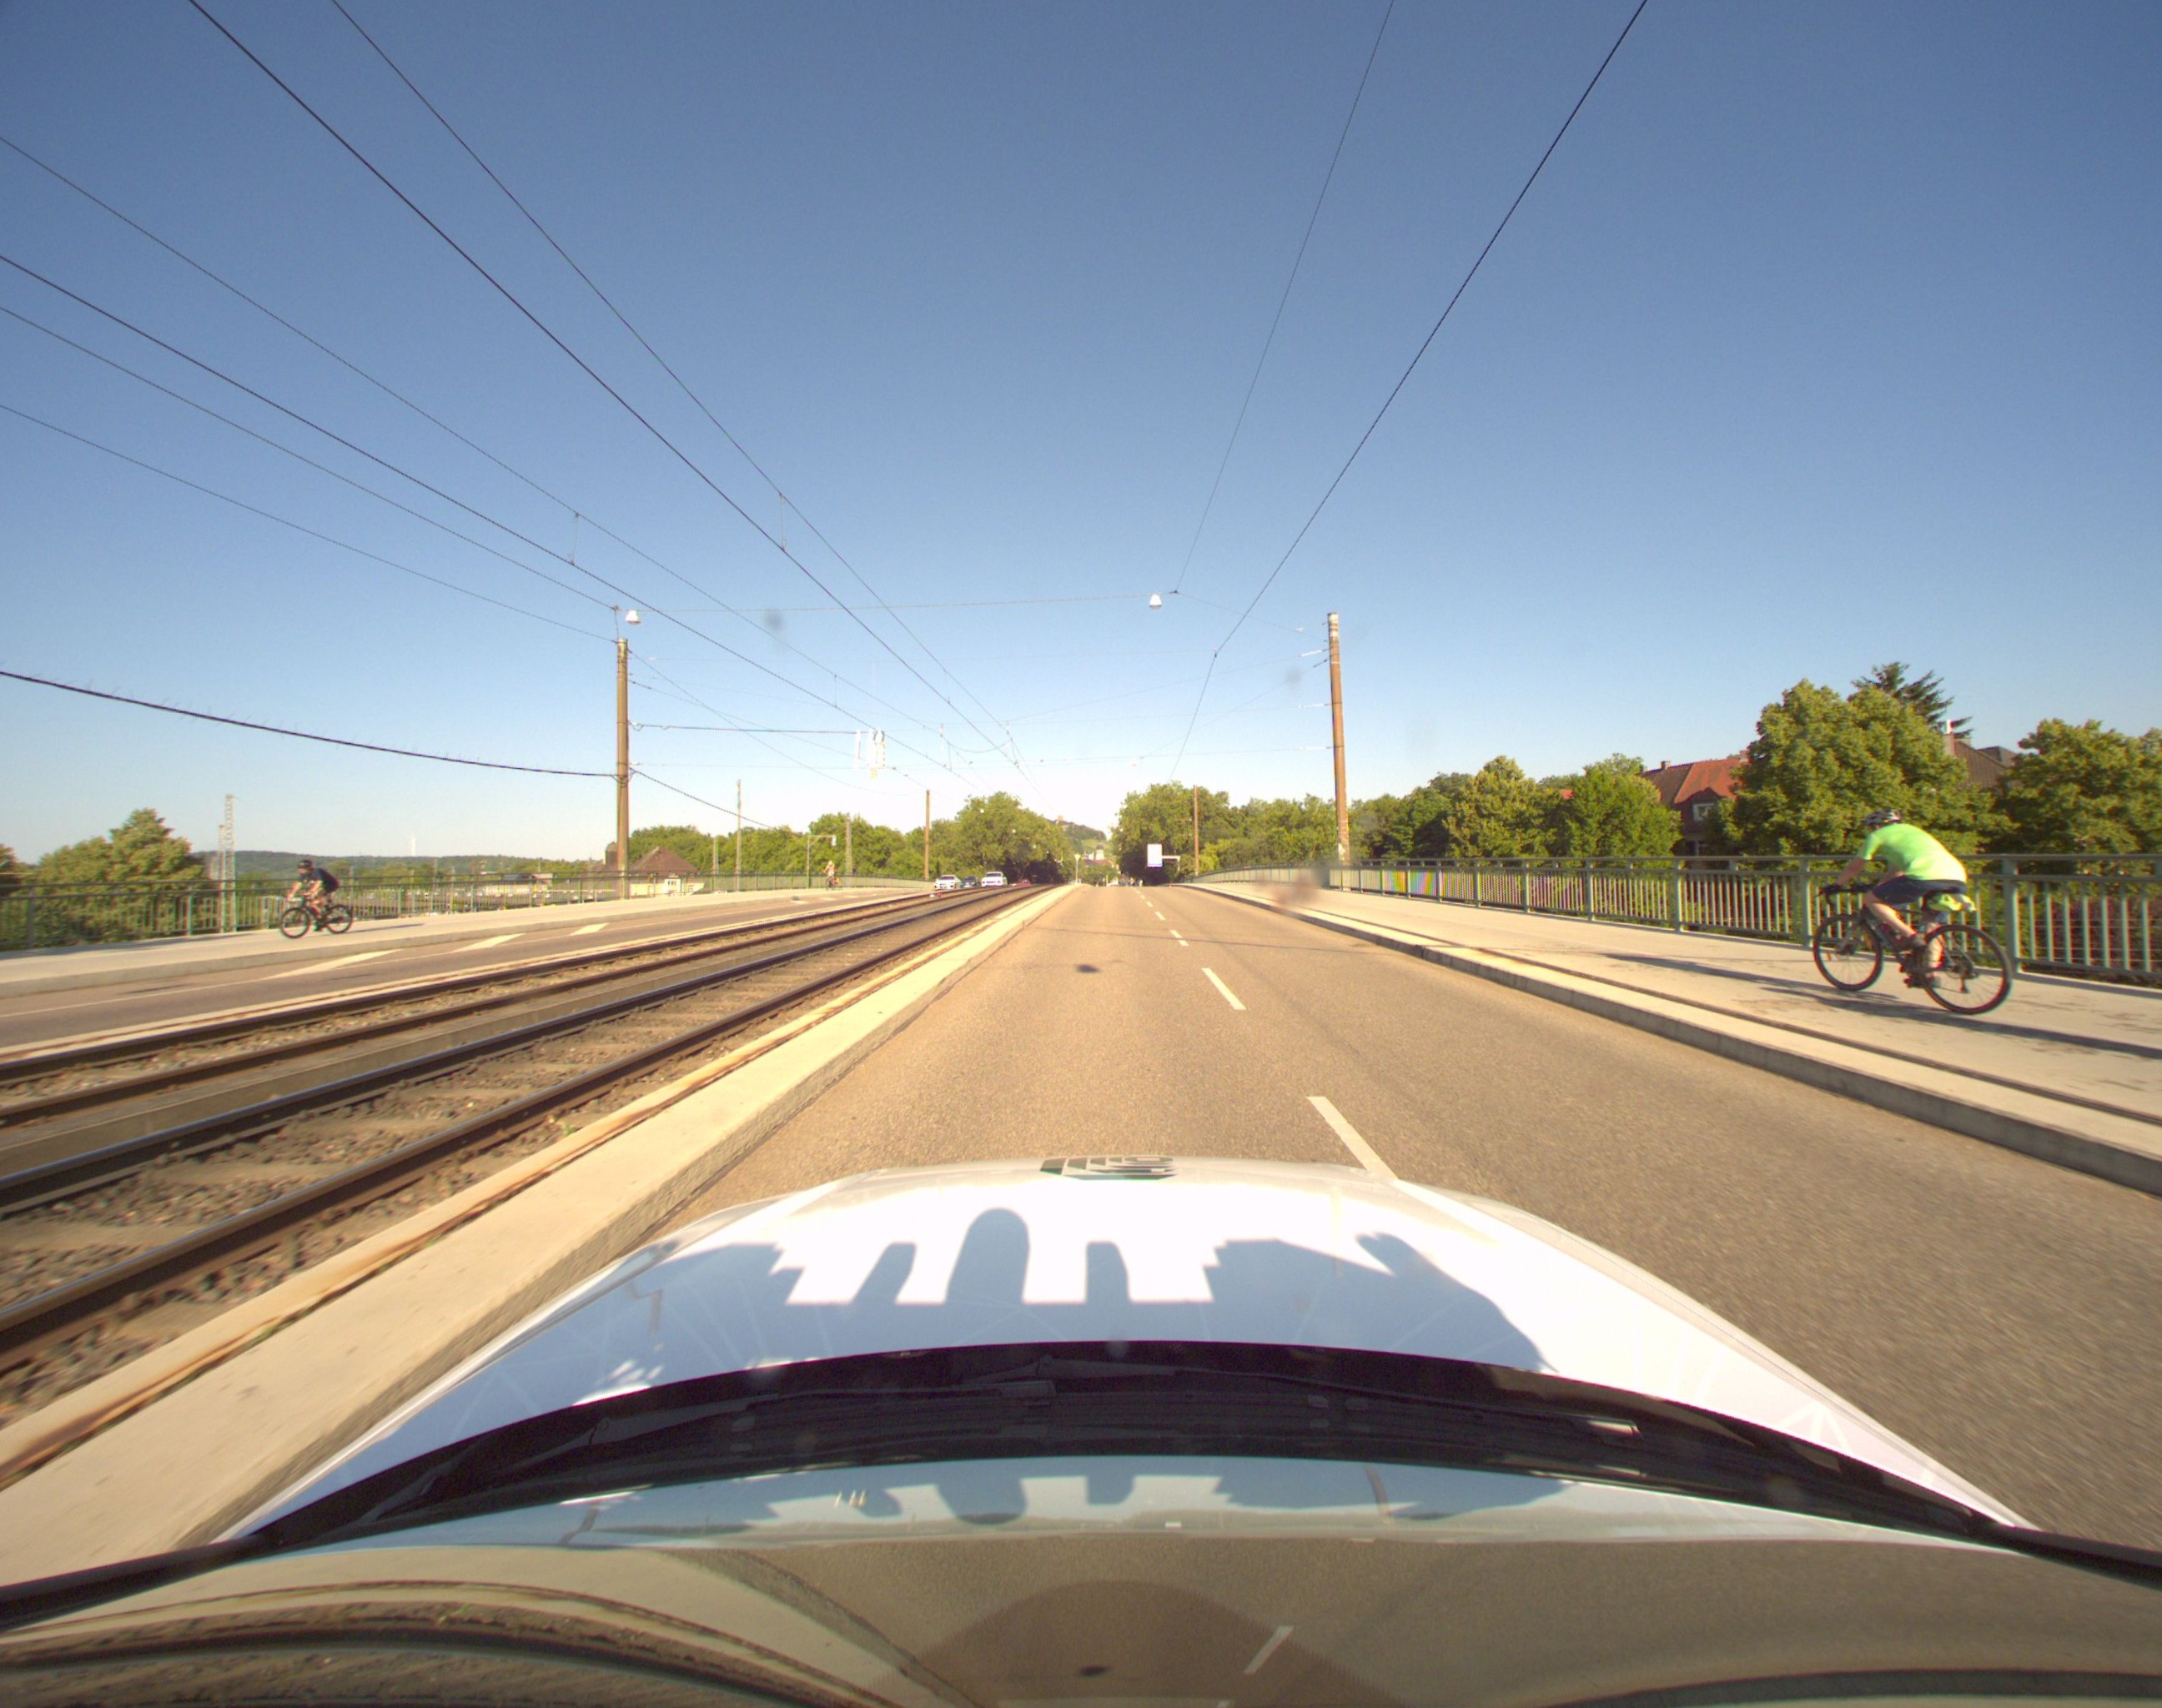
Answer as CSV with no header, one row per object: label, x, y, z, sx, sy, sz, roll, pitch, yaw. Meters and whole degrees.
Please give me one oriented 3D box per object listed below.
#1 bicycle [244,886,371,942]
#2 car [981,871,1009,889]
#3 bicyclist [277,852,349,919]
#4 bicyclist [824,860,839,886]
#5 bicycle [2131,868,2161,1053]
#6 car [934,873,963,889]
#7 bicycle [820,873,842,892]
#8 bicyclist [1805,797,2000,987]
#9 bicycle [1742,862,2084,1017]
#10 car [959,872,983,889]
bicycle,-17.015,1.290,18.012,0.623,1.122,2.259,0,-1,0
car,-8.162,2.438,77.810,1.993,1.637,5.092,-1,-1,2
bicyclist,-17.016,0.691,18.067,0.623,1.432,0.968,0,-2,0
bicyclist,-15.755,1.206,51.386,0.622,1.633,0.936,0,-2,2
bicycle,6.846,0.626,4.050,0.623,1.122,2.042,0,-1,2
car,-11.874,2.433,73.213,1.677,1.356,4.922,-1,-1,2
bicycle,-15.753,1.792,51.414,0.622,1.122,2.261,0,-1,2
bicyclist,6.974,0.308,6.976,0.623,1.508,1.005,0,-1,-1
bicycle,6.976,0.640,7.061,0.623,1.122,2.259,0,-1,0
car,-11.384,2.740,84.650,1.772,1.650,4.448,-1,-1,2
